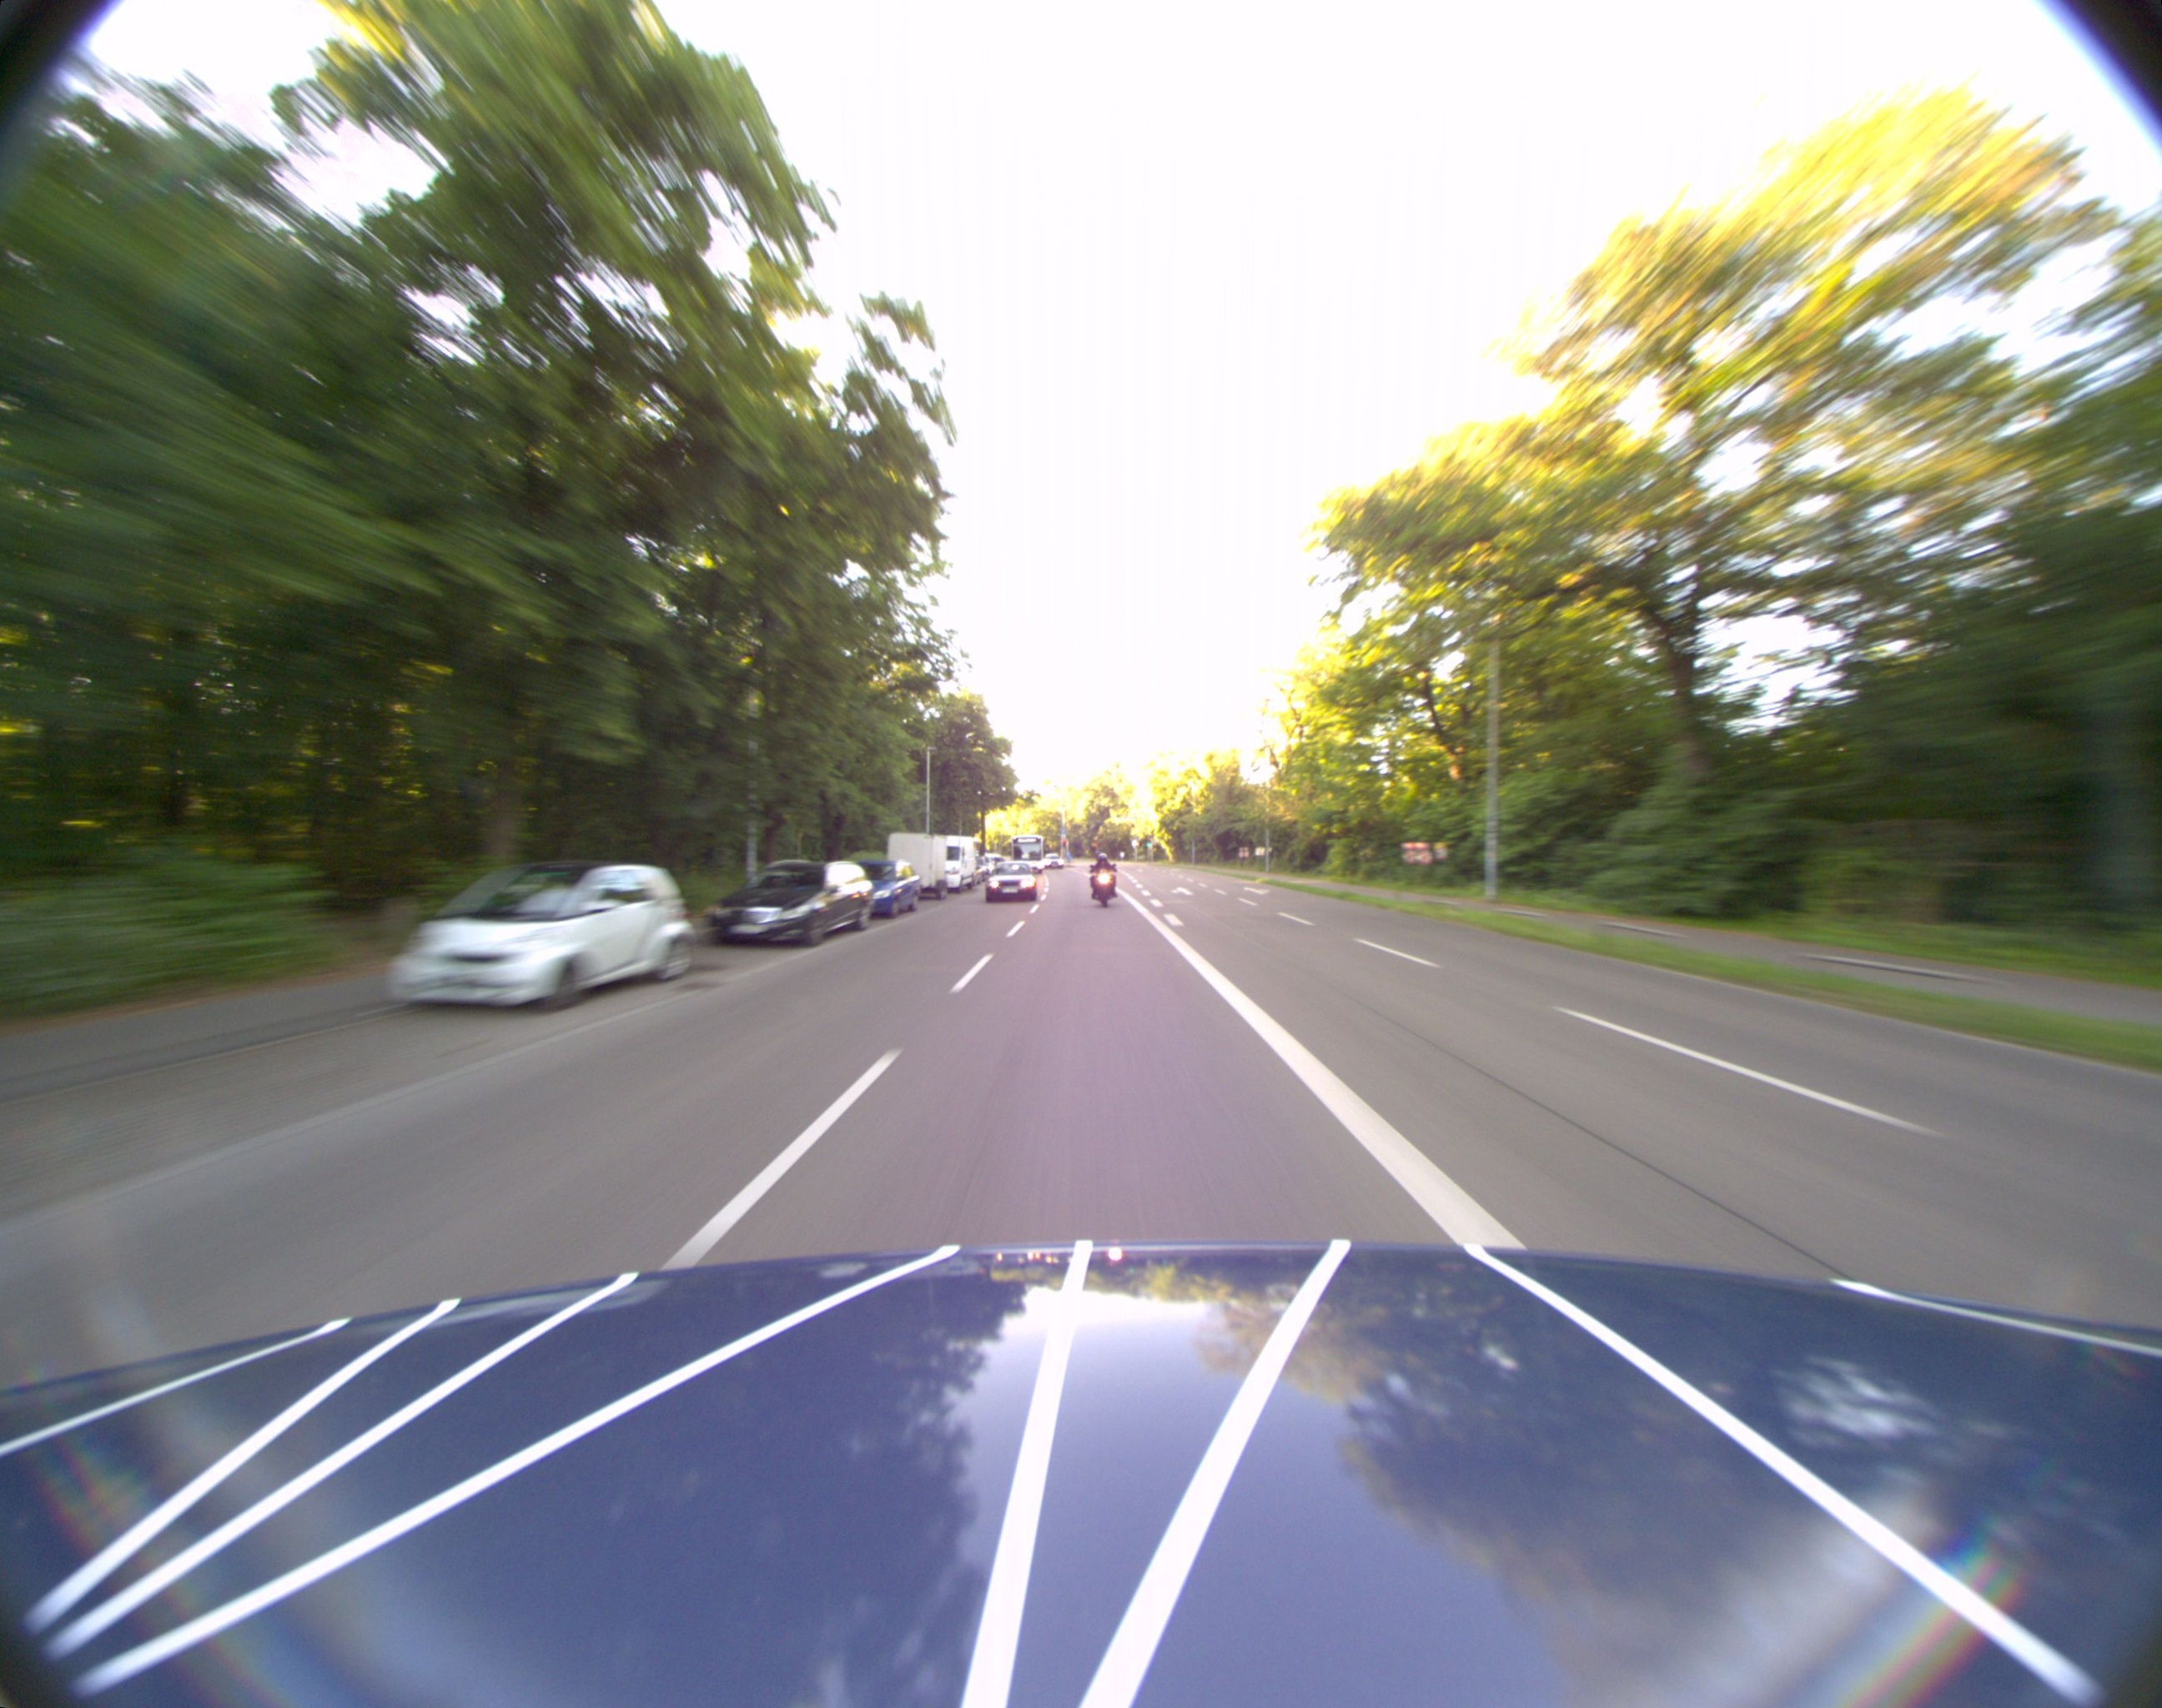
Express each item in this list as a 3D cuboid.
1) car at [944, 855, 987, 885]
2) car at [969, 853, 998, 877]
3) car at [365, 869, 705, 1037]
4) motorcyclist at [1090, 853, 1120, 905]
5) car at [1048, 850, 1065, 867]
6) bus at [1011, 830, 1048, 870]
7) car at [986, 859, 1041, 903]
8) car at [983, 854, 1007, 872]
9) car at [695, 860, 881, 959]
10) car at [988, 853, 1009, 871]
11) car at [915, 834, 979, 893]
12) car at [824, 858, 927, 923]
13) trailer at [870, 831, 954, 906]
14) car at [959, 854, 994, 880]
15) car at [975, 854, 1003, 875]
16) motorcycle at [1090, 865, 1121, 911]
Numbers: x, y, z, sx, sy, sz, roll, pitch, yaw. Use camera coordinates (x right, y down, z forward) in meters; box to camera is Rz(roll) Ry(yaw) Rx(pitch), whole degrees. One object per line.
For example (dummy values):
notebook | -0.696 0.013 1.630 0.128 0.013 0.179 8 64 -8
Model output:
car | -6.040 0.820 40.218 1.682 1.392 4.649 1 1 -2
car | -6.594 0.728 51.634 1.682 1.455 3.687 1 1 -3
car | -6.035 0.981 8.889 1.589 1.487 3.180 1 1 3
motorcyclist | 0.702 0.714 22.444 0.830 1.484 1.024 -1 1 1
car | -2.537 0.447 77.443 1.679 1.552 3.993 -1 1 -3
bus | -4.276 -0.375 65.670 2.813 3.030 12.881 -1 0 -3
car | -2.350 0.907 27.329 1.679 1.351 3.993 -1 1 -1
car | -7.056 0.707 62.468 1.723 1.403 4.485 1 1 -4
car | -5.523 0.938 15.099 1.763 1.526 4.988 1 1 0
car | -7.334 0.685 67.736 1.723 1.403 4.484 1 1 -6
car | -5.864 0.340 34.023 1.909 2.409 5.574 1 1 -1
car | -5.555 0.915 21.066 1.682 1.526 4.352 1 1 0
trailer | -5.911 0.448 27.240 1.909 2.409 5.125 1 1 -1
car | -6.221 0.745 45.611 1.682 1.455 4.065 1 1 -2
car | -6.888 0.742 57.303 1.722 1.403 4.905 1 1 -3
motorcycle | 0.709 0.973 22.450 0.830 1.212 2.603 -1 1 1
